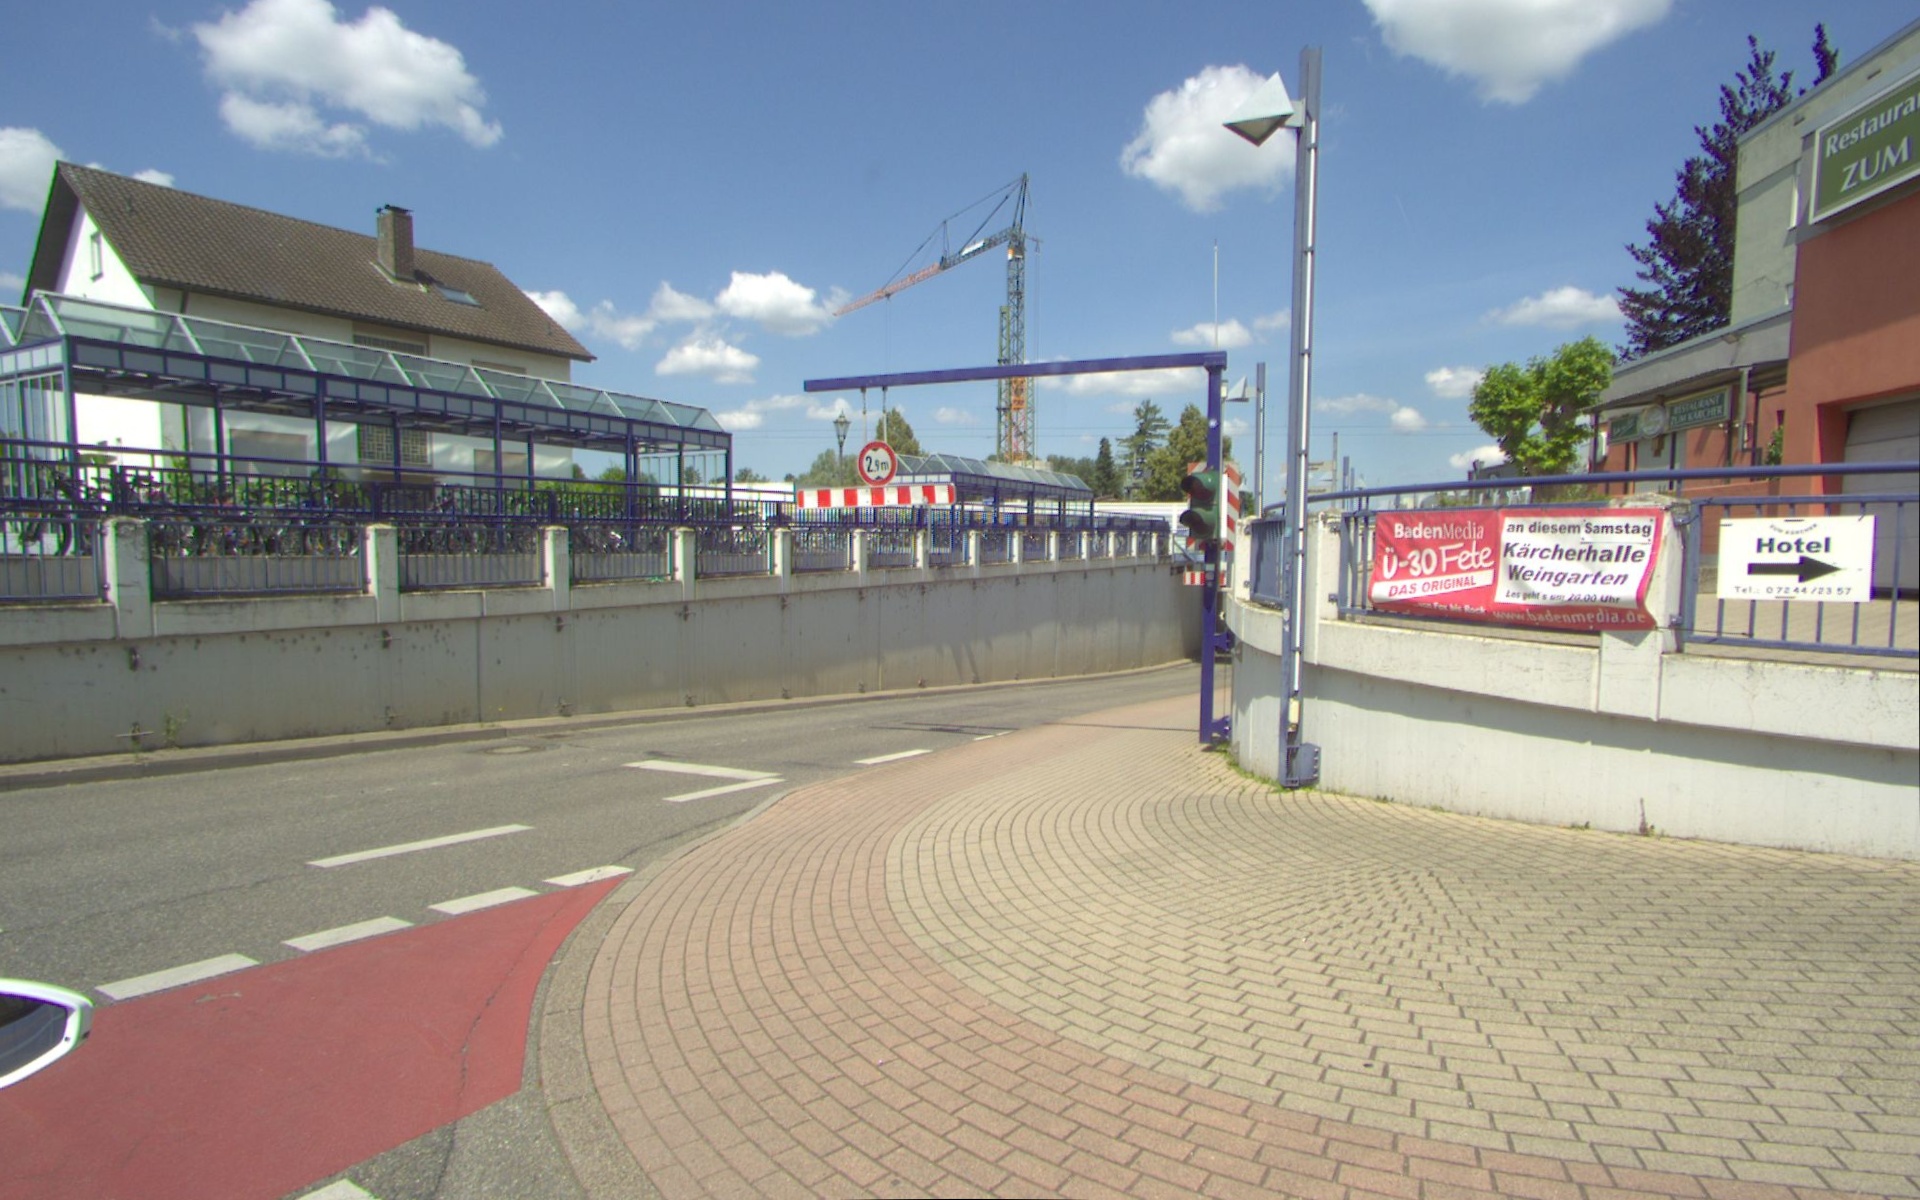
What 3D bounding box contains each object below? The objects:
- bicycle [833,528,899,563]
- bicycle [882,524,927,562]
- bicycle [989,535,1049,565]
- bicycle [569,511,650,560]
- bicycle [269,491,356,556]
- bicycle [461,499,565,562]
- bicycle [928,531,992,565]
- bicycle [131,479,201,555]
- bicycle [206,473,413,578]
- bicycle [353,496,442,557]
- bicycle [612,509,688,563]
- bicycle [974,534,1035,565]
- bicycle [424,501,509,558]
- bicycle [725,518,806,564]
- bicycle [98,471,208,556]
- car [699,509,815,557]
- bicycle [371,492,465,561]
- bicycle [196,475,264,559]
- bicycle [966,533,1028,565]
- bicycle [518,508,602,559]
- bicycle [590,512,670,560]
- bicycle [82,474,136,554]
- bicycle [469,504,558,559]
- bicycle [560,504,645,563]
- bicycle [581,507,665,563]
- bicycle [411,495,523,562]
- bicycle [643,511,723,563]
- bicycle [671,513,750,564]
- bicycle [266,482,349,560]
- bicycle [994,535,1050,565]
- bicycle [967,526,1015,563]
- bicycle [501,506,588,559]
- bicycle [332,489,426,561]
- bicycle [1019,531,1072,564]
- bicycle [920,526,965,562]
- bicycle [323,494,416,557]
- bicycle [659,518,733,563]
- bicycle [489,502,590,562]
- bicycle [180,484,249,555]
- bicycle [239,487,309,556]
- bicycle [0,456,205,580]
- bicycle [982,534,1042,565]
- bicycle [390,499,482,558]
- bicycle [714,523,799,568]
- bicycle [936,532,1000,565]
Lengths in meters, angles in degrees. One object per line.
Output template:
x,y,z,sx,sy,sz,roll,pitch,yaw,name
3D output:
-2.827,-1.635,30.048,1.993,1.009,0.509,2,3,27,bicycle
-1.771,-1.827,31.928,1.580,1.174,0.383,3,4,38,bicycle
2.030,-1.721,34.455,1.993,1.009,0.509,2,3,27,bicycle
-7.500,-1.377,21.398,1.936,1.009,0.518,2,3,30,bicycle
-10.547,-1.230,16.286,1.937,1.009,0.425,3,3,33,bicycle
-7.660,-1.177,17.123,2.156,1.009,0.531,3,3,33,bicycle
-0.020,-1.627,31.119,1.993,1.009,0.436,2,3,27,bicycle
-11.339,-1.165,14.280,1.941,1.009,0.371,3,4,39,bicycle
-7.623,-0.838,11.870,0.386,1.141,2.112,3,3,29,bicycle
-9.754,-1.258,17.351,1.936,1.009,0.413,2,3,30,bicycle
-6.172,-1.259,19.870,2.016,1.009,0.512,3,4,43,bicycle
1.494,-1.698,33.602,1.993,1.009,0.509,2,3,27,bicycle
-9.189,-1.298,18.630,1.774,1.009,0.518,2,3,30,bicycle
-4.467,-1.348,22.908,2.010,1.009,0.542,3,3,34,bicycle
-10.240,-1.083,12.686,2.043,1.009,0.331,2,3,29,bicycle
-7.677,-2.522,37.865,3.935,1.701,1.992,2,3,26,car
-8.456,-1.131,15.571,2.252,1.009,0.433,3,3,39,bicycle
-9.526,-1.050,13.035,0.432,1.009,2.080,-2,4,-43,bicycle
1.216,-1.682,33.075,1.993,1.009,0.509,2,3,27,bicycle
-8.161,-1.349,20.396,1.936,1.009,0.518,2,3,30,bicycle
-7.225,-1.390,21.875,1.936,1.009,0.518,2,3,30,bicycle
-11.577,-1.143,13.613,0.452,1.009,1.869,-2,4,-43,bicycle
-8.526,-1.305,19.105,1.936,1.009,0.518,2,3,30,bicycle
-6.594,-1.209,18.422,2.164,1.009,0.575,3,4,44,bicycle
-6.492,-1.240,19.246,2.012,1.009,0.513,3,3,38,bicycle
-7.988,-1.146,16.182,2.248,1.009,0.531,3,3,33,bicycle
-5.665,-1.272,20.426,2.013,1.009,0.513,3,3,40,bicycle
-5.289,-1.293,21.153,2.013,1.009,0.541,3,3,40,bicycle
-9.144,-1.081,14.003,2.077,1.009,0.433,3,4,42,bicycle
2.153,-1.744,35.074,1.892,1.009,0.509,2,3,27,bicycle
0.998,-1.790,32.242,1.580,1.174,0.426,3,4,38,bicycle
-8.223,-1.326,19.779,1.936,1.009,0.518,2,3,30,bicycle
-8.775,-1.117,15.084,2.252,1.009,0.433,3,3,39,bicycle
3.114,-1.923,36.573,1.892,1.174,0.509,2,3,28,bicycle
-0.596,-1.864,33.389,1.580,1.174,0.383,3,4,38,bicycle
-10.005,-1.246,16.946,1.936,1.009,0.472,2,3,30,bicycle
-6.183,-1.398,23.405,2.011,1.009,0.542,3,3,37,bicycle
-7.504,-1.202,17.834,2.156,1.009,0.531,3,3,33,bicycle
-11.285,-1.198,15.135,1.941,1.009,0.371,3,4,39,bicycle
-10.746,-1.208,15.658,1.941,1.009,0.371,3,4,39,bicycle
-8.732,-0.778,9.850,0.328,1.141,2.112,3,3,29,bicycle
1.753,-1.711,34.071,1.993,1.009,0.509,2,3,27,bicycle
-9.420,-1.277,17.984,1.936,1.009,0.518,2,3,30,bicycle
-4.672,-1.251,22.926,2.128,1.009,0.435,2,3,29,bicycle
0.245,-1.644,31.677,1.993,1.009,0.509,2,3,27,bicycle
